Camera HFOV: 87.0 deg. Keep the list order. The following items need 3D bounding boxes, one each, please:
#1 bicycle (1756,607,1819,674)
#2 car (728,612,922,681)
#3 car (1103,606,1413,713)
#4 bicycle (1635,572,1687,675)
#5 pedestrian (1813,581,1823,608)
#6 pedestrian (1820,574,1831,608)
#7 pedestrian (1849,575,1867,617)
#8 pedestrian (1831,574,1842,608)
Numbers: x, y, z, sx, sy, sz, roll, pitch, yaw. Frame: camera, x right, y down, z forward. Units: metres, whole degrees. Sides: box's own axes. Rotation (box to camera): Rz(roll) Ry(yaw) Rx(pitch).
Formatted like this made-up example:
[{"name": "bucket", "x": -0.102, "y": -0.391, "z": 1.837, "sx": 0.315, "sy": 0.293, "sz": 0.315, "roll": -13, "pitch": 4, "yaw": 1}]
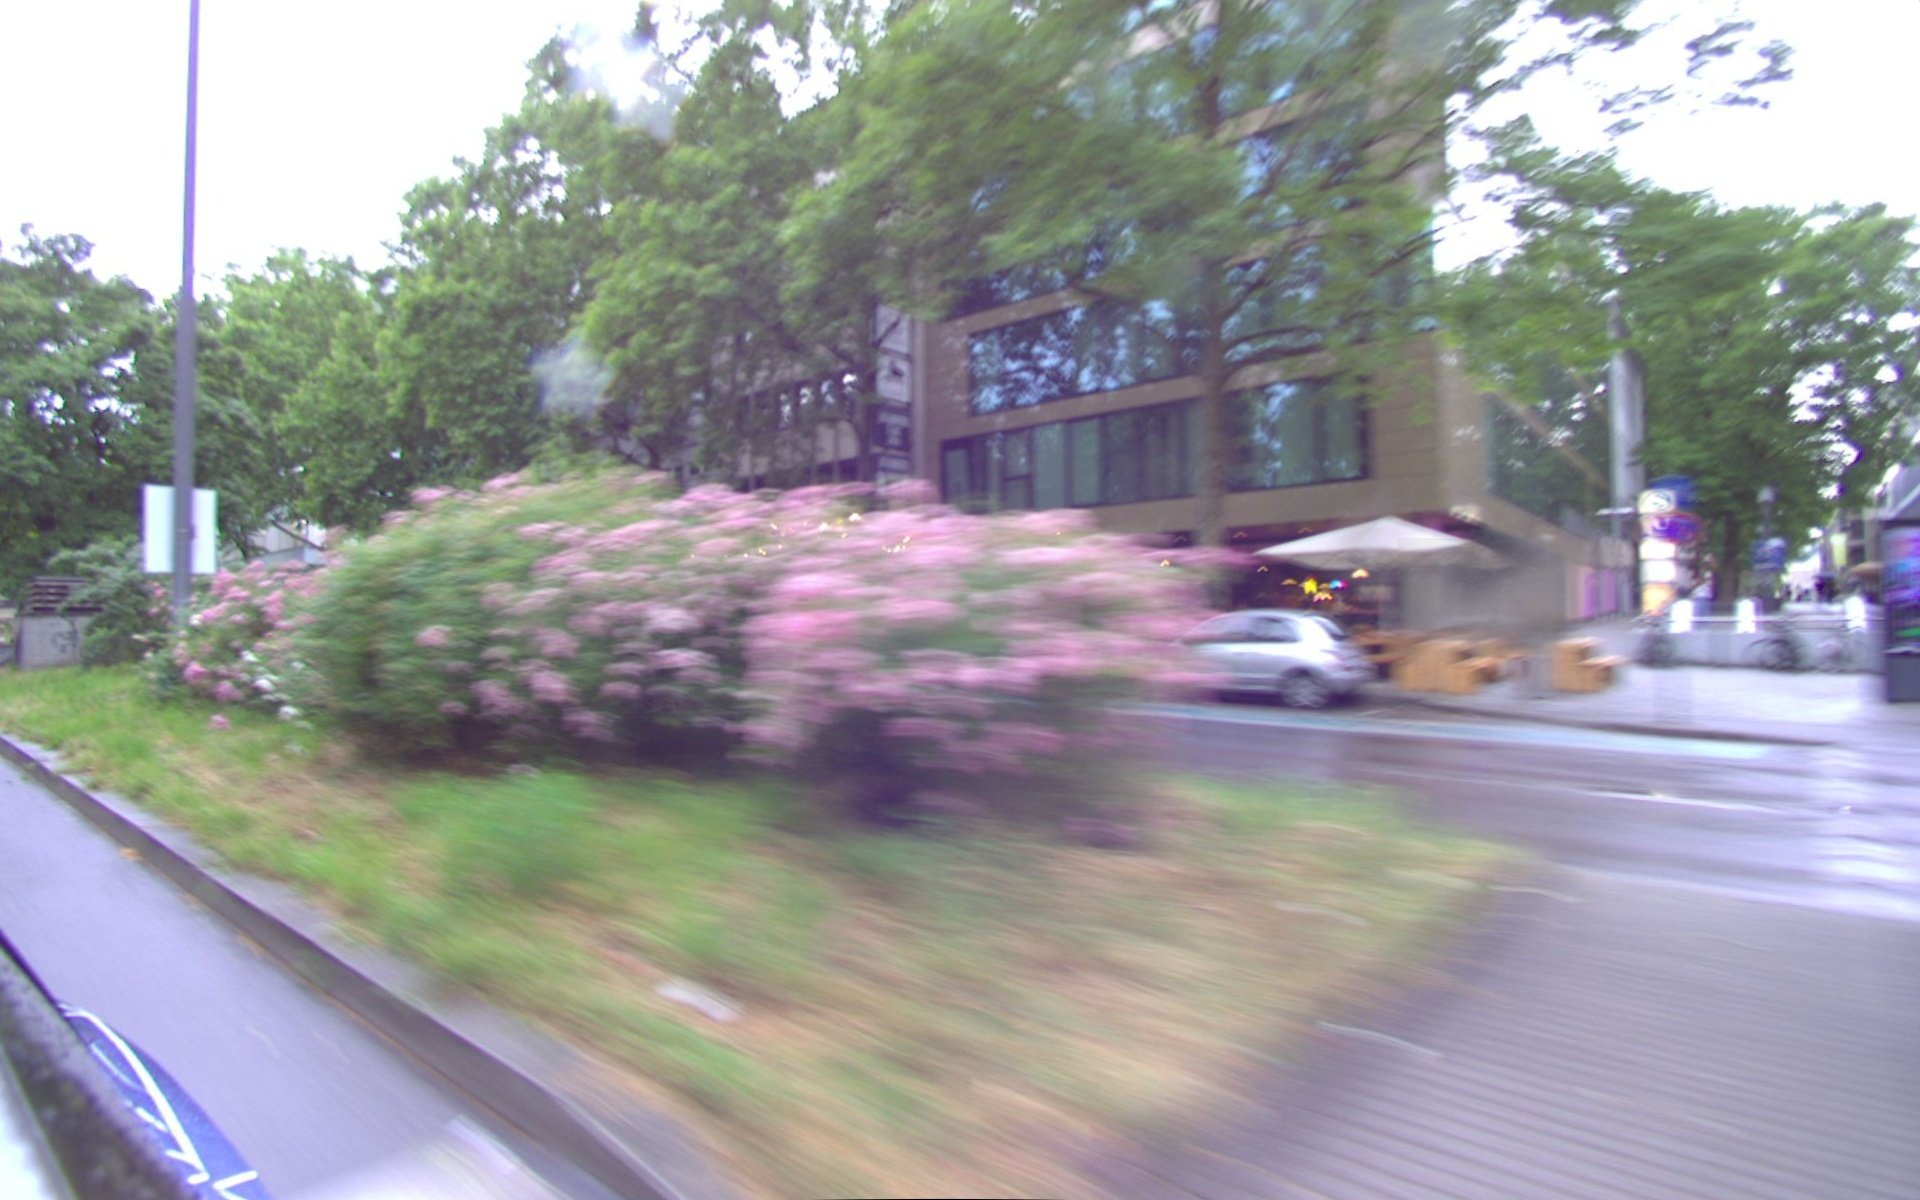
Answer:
[{"name": "bicycle", "x": 16.305, "y": 0.771, "z": 19.987, "sx": 0.688, "sy": 1.256, "sz": 2.367, "roll": -1, "pitch": -1, "yaw": 33}, {"name": "car", "x": -3.207, "y": 1.036, "z": 23.485, "sx": 4.537, "sy": 1.380, "sz": 1.973, "roll": -1, "pitch": 1, "yaw": 41}, {"name": "car", "x": 4.802, "y": 0.909, "z": 16.662, "sx": 4.513, "sy": 1.520, "sz": 1.974, "roll": -1, "pitch": -2, "yaw": 39}, {"name": "bicycle", "x": 14.557, "y": 0.467, "z": 20.994, "sx": 0.689, "sy": 2.029, "sz": 2.363, "roll": -1, "pitch": -1, "yaw": 39}, {"name": "pedestrian", "x": 64.186, "y": -0.431, "z": 75.698, "sx": 0.583, "sy": 2.029, "sz": 0.654, "roll": 0, "pitch": 0, "yaw": 41}, {"name": "pedestrian", "x": 50.421, "y": -0.535, "z": 58.976, "sx": 0.478, "sy": 1.945, "sz": 0.599, "roll": 0, "pitch": 0, "yaw": 41}, {"name": "pedestrian", "x": 44.335, "y": -0.203, "z": 49.949, "sx": 0.664, "sy": 2.029, "sz": 0.746, "roll": 0, "pitch": 0, "yaw": 42}, {"name": "pedestrian", "x": 50.766, "y": -0.536, "z": 58.607, "sx": 0.478, "sy": 1.945, "sz": 0.599, "roll": 0, "pitch": 0, "yaw": 41}]
